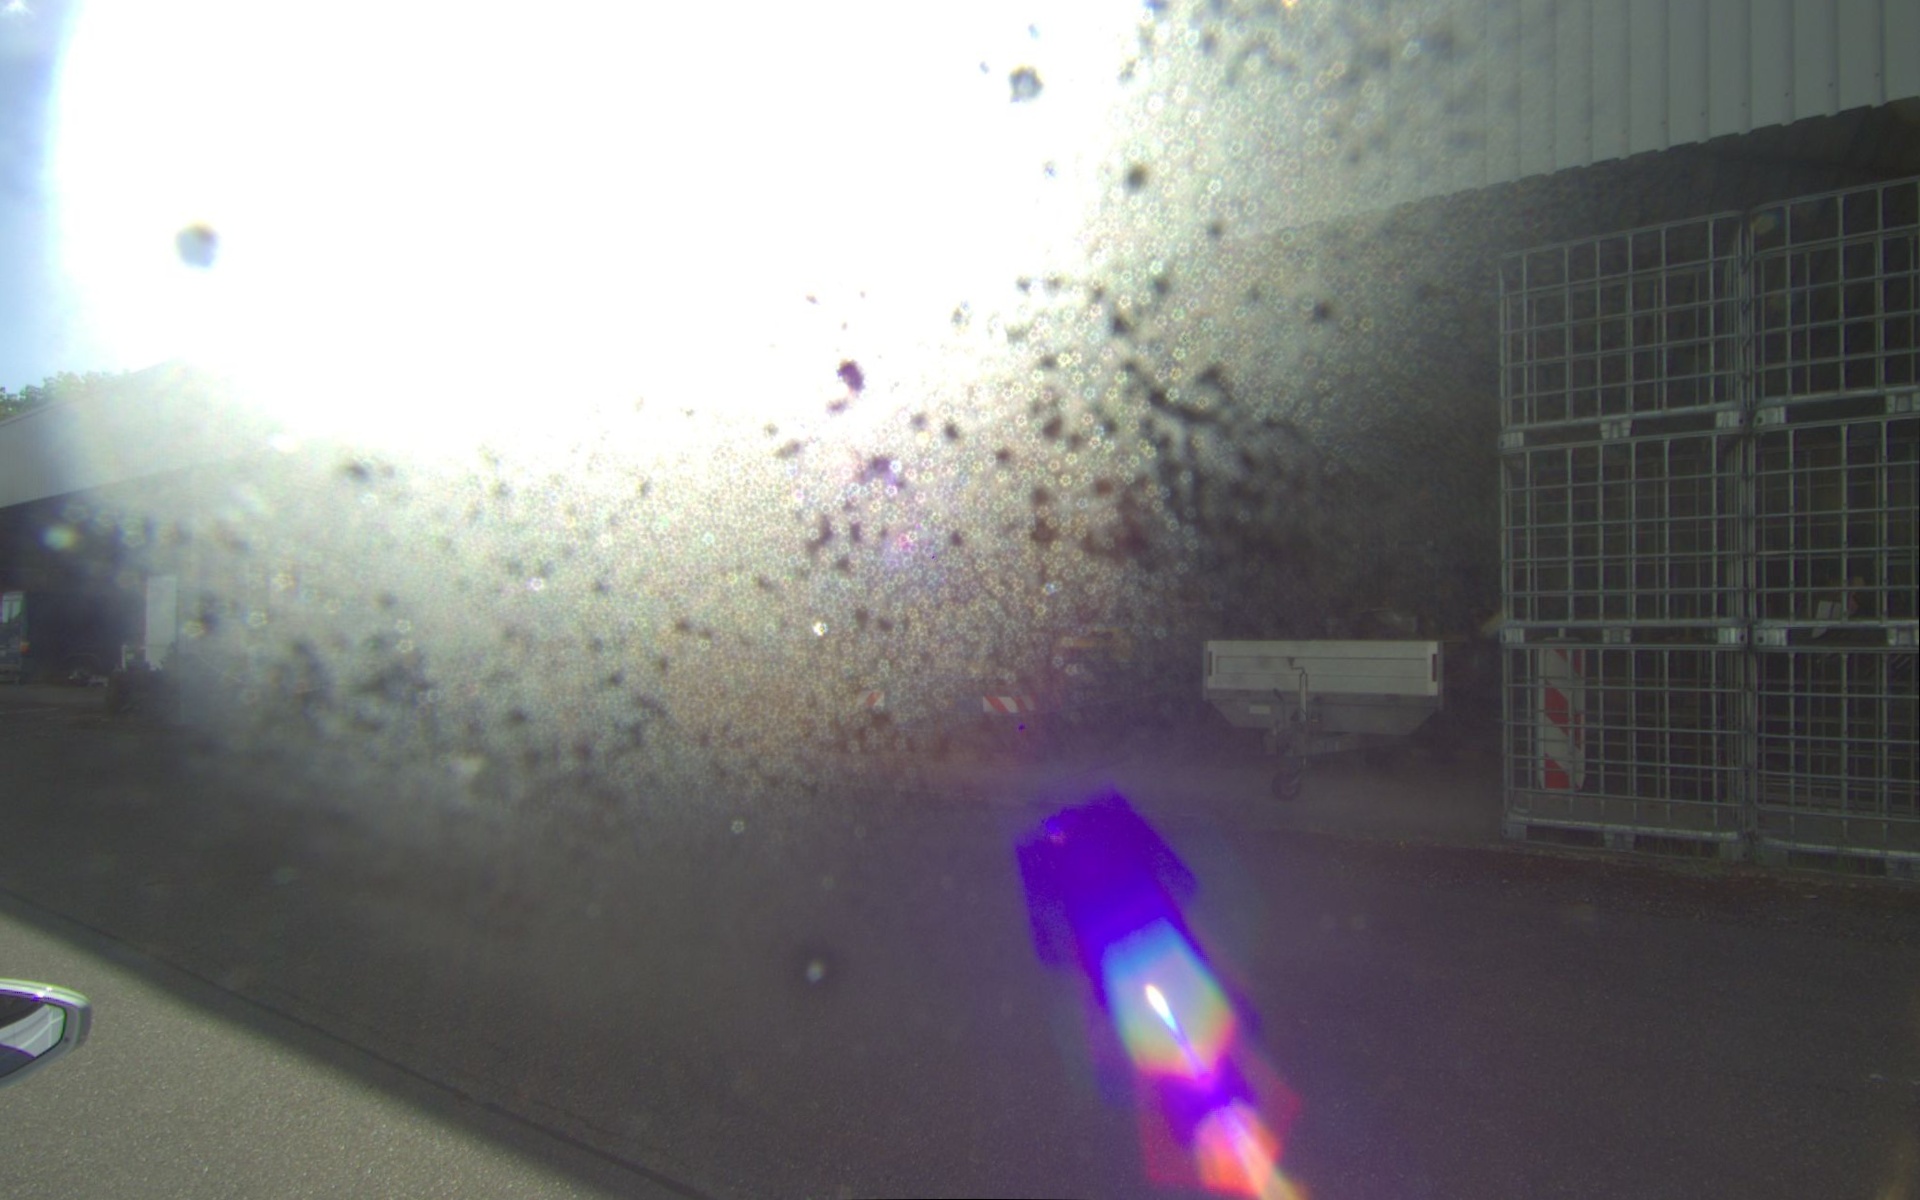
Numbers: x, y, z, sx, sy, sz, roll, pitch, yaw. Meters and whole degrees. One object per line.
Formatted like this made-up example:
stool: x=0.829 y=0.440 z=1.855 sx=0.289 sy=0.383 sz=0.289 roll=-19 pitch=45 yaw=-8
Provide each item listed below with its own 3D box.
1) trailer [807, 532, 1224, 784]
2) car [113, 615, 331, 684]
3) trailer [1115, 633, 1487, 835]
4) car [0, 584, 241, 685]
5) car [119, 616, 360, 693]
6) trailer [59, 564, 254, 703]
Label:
trailer: x=1.001 y=0.530 z=11.165 sx=2.049 sy=2.058 sz=5.753 roll=-1 pitch=-1 yaw=33
car: x=-18.228 y=1.264 z=24.919 sx=1.662 sy=1.543 sz=4.031 roll=-3 pitch=-5 yaw=33
trailer: x=3.494 y=0.923 z=9.184 sx=2.110 sy=1.148 sz=5.840 roll=-1 pitch=-1 yaw=30
car: x=-21.382 y=0.949 z=25.648 sx=1.890 sy=2.337 sz=4.425 roll=-3 pitch=-4 yaw=33
car: x=-15.889 y=1.237 z=22.303 sx=1.662 sy=1.543 sz=4.031 roll=-3 pitch=-5 yaw=33
trailer: x=-15.274 y=0.643 z=19.103 sx=1.703 sy=2.429 sz=2.518 roll=-2 pitch=-2 yaw=33
